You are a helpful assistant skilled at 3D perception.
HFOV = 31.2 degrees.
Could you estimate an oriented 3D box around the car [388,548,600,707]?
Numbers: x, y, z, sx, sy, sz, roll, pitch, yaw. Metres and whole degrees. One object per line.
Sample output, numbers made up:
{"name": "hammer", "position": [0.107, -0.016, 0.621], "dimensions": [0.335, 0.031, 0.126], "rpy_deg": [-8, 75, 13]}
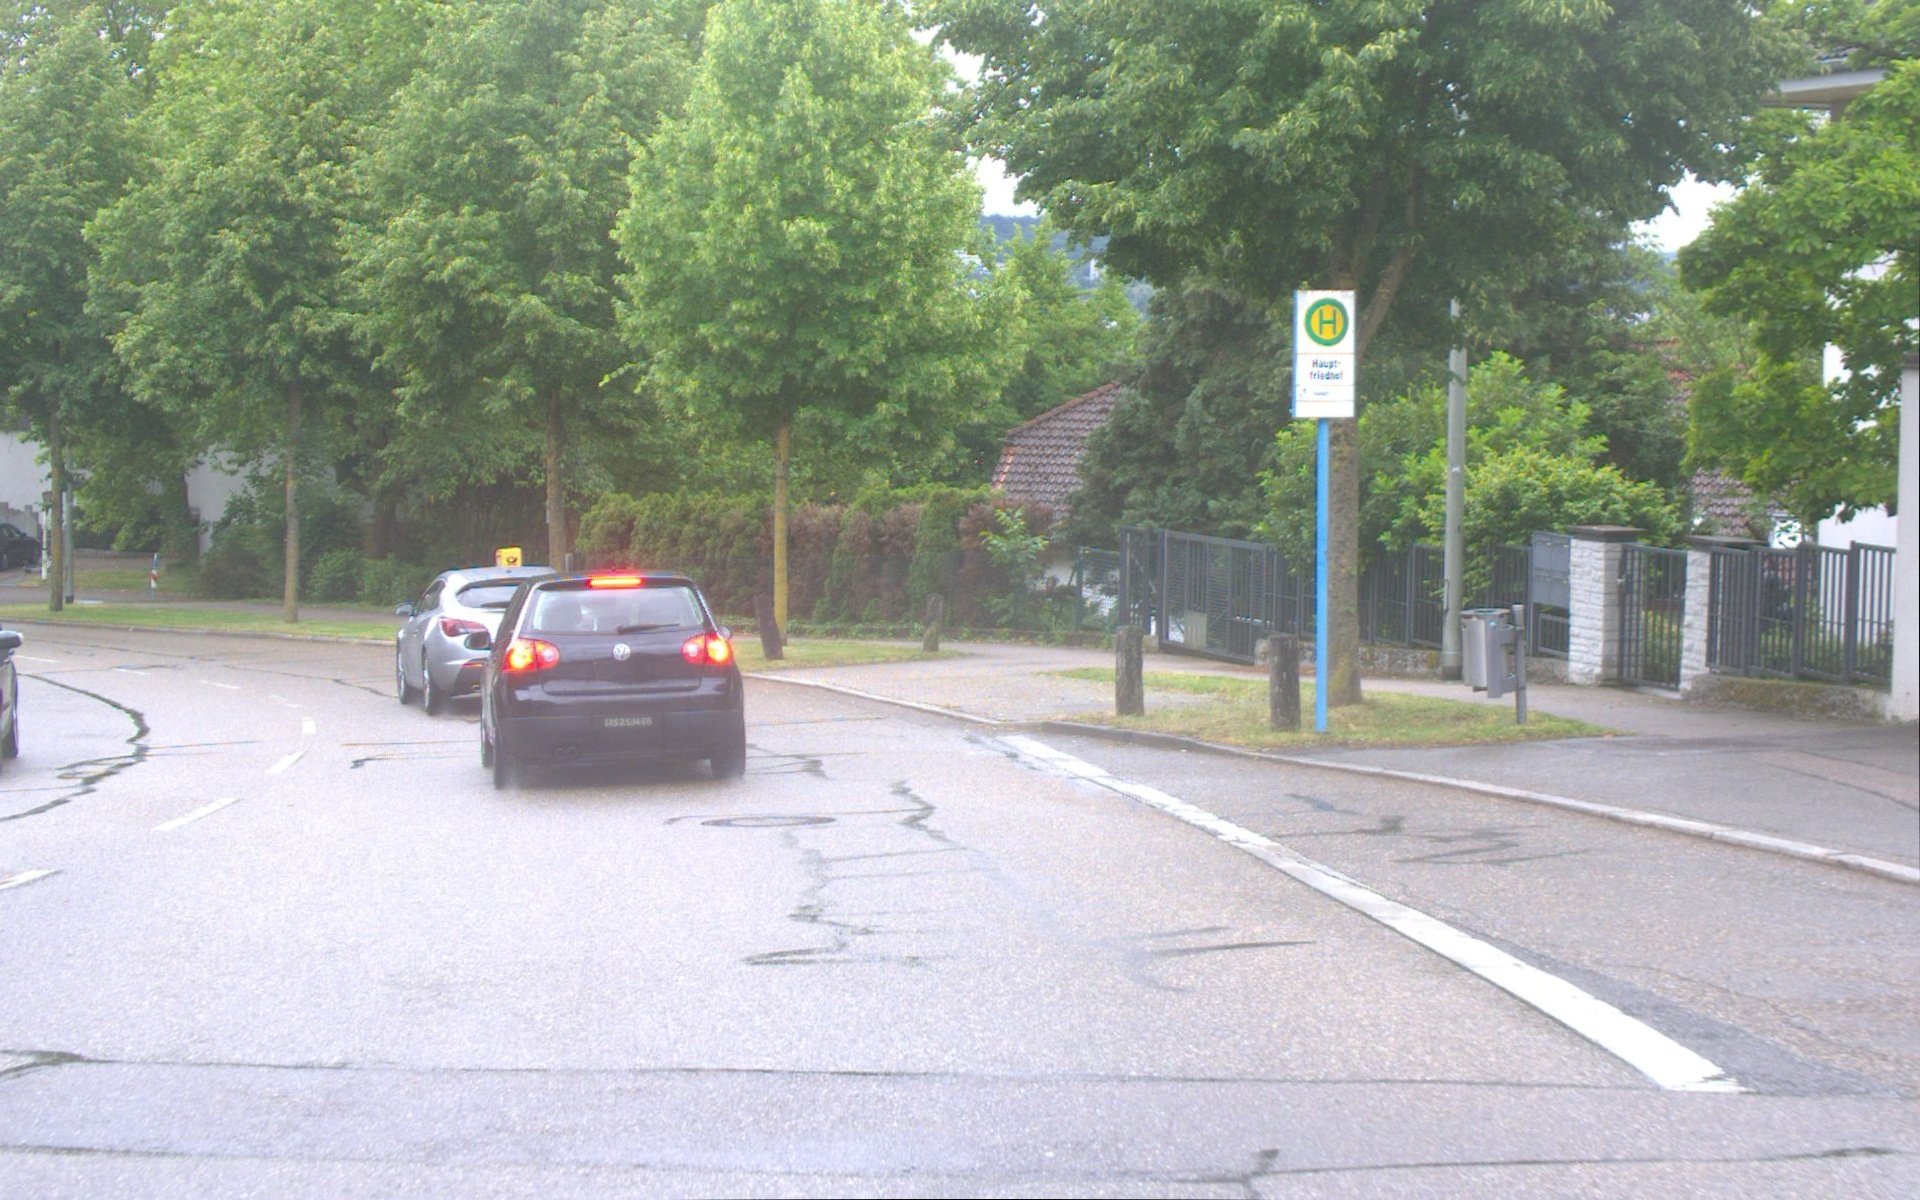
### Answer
{"name": "car", "position": [-4.926, 0.234, 35.930], "dimensions": [1.754, 1.459, 4.002], "rpy_deg": [-1, 2, -14]}

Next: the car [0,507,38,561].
{"name": "car", "position": [-31.167, -2.108, 110.047], "dimensions": [1.751, 1.464, 4.566], "rpy_deg": [3, 5, 5]}

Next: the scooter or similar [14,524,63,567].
{"name": "scooter or similar", "position": [-29.110, -1.726, 108.622], "dimensions": [1.336, 1.281, 0.561], "rpy_deg": [-3, 3, -38]}

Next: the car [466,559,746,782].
{"name": "car", "position": [-2.634, 0.444, 24.852], "dimensions": [1.721, 1.459, 4.001], "rpy_deg": [-1, 1, -10]}

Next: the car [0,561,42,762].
{"name": "car", "position": [-8.661, 0.475, 28.151], "dimensions": [1.810, 1.571, 4.687], "rpy_deg": [-1, 1, -10]}
